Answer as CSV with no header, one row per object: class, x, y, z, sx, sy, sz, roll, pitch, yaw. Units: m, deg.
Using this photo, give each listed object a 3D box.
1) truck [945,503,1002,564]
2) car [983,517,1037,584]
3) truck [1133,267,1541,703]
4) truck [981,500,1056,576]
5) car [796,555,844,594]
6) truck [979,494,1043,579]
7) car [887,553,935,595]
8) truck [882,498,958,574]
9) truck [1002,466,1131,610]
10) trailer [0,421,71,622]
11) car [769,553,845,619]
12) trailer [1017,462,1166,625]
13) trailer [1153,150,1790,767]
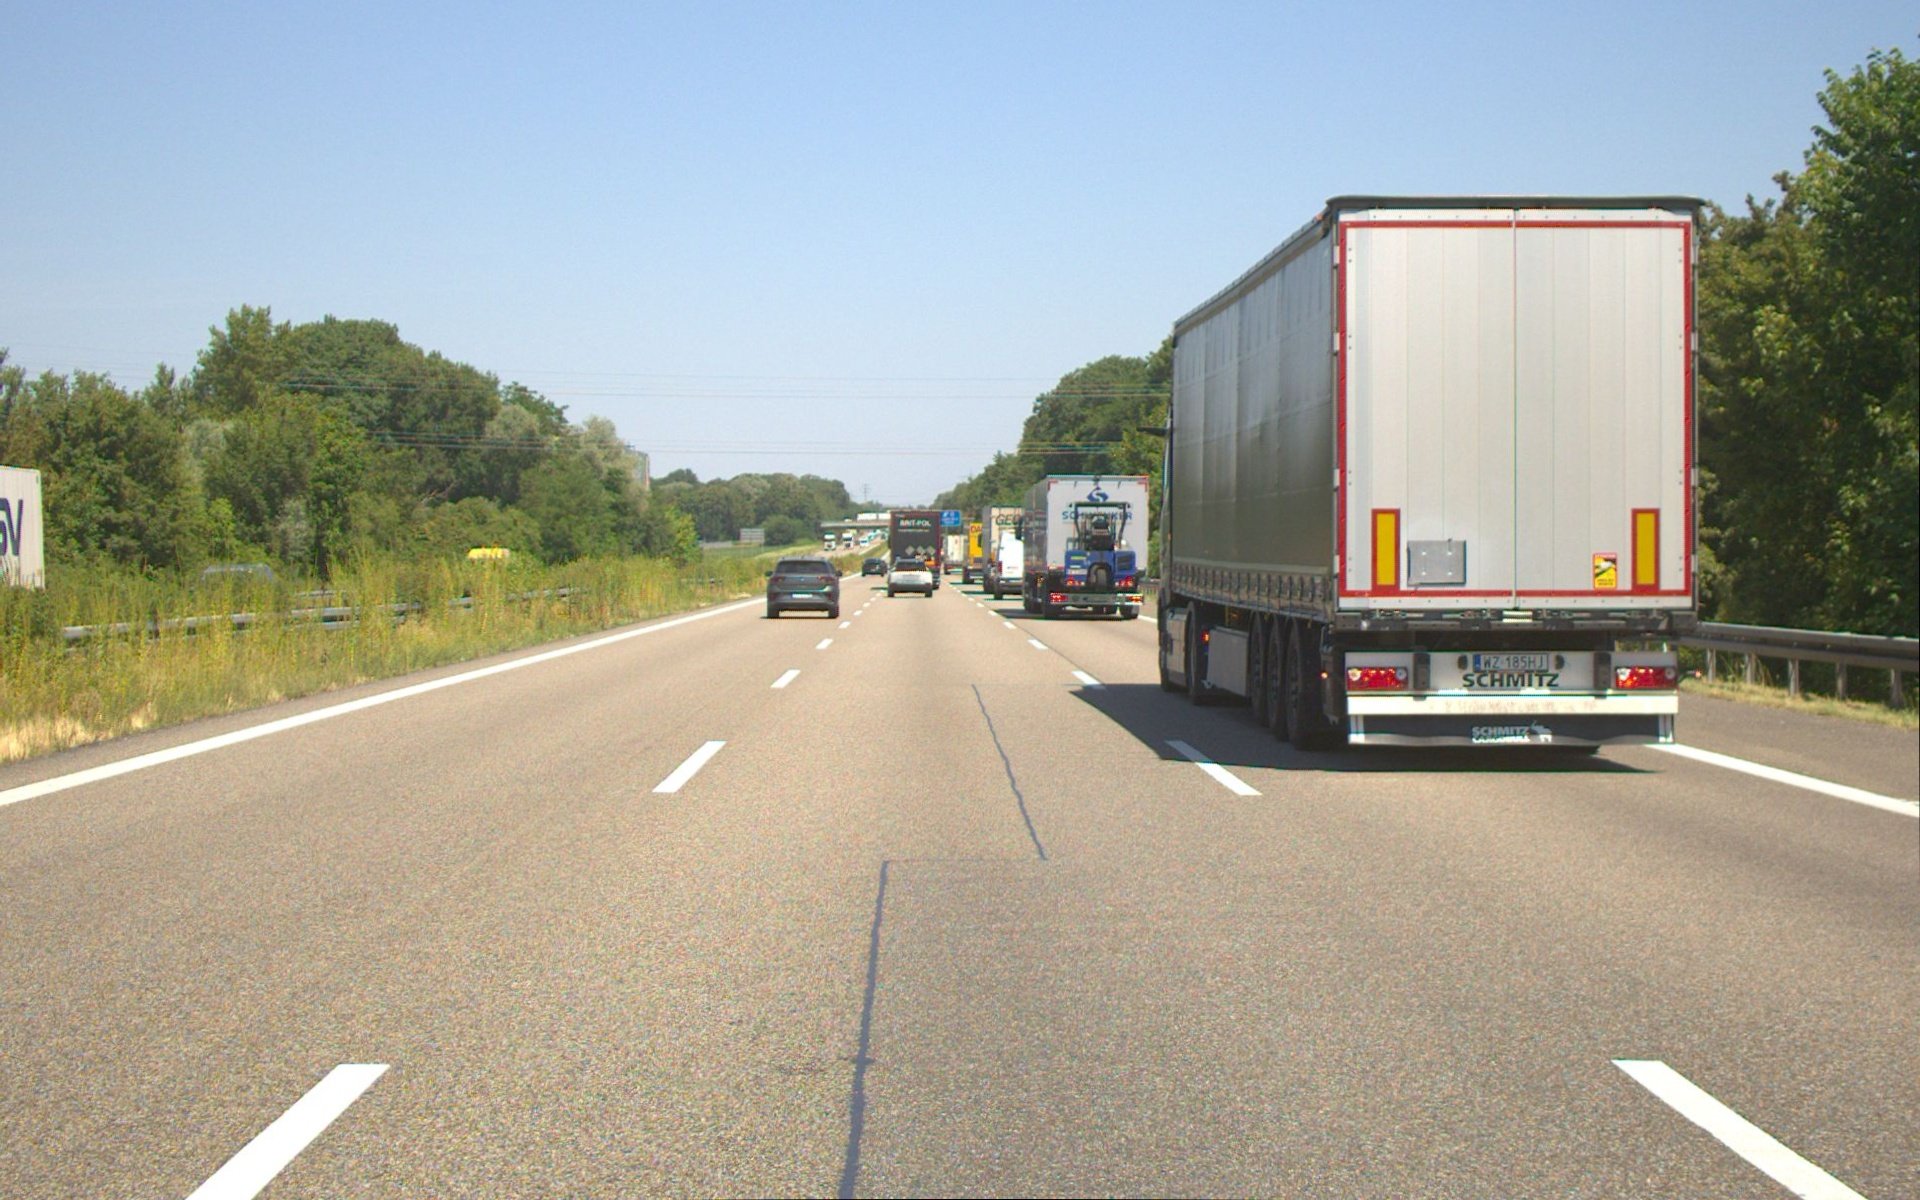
truck,0.897,-4.269,218.289,3.489,3.713,7.108,1,2,1
car,1.906,-1.917,131.166,1.907,2.417,4.286,1,2,-1
truck,3.834,-1.132,36.781,3.464,4.163,6.844,1,0,-1
truck,2.968,-3.202,175.887,3.667,3.713,7.108,1,2,1
car,-6.041,-1.107,148.688,1.900,1.525,4.084,1,2,-1
truck,2.292,-2.918,156.377,2.792,3.713,7.108,1,2,1
car,-1.978,-1.069,139.608,1.900,1.525,4.084,1,2,-1
truck,-2.008,-3.318,175.543,3.667,3.713,7.108,1,2,1
truck,2.976,-1.854,98.917,3.057,3.865,10.035,1,2,-2
trailer,-22.122,-1.735,75.350,3.047,4.310,9.033,0,2,-1
car,-3.868,-0.380,87.409,1.759,1.525,4.286,1,2,-1
trailer,3.293,-1.535,89.055,3.122,3.913,9.938,1,2,-2
trailer,3.890,-1.073,30.399,3.434,4.167,13.633,1,1,0
